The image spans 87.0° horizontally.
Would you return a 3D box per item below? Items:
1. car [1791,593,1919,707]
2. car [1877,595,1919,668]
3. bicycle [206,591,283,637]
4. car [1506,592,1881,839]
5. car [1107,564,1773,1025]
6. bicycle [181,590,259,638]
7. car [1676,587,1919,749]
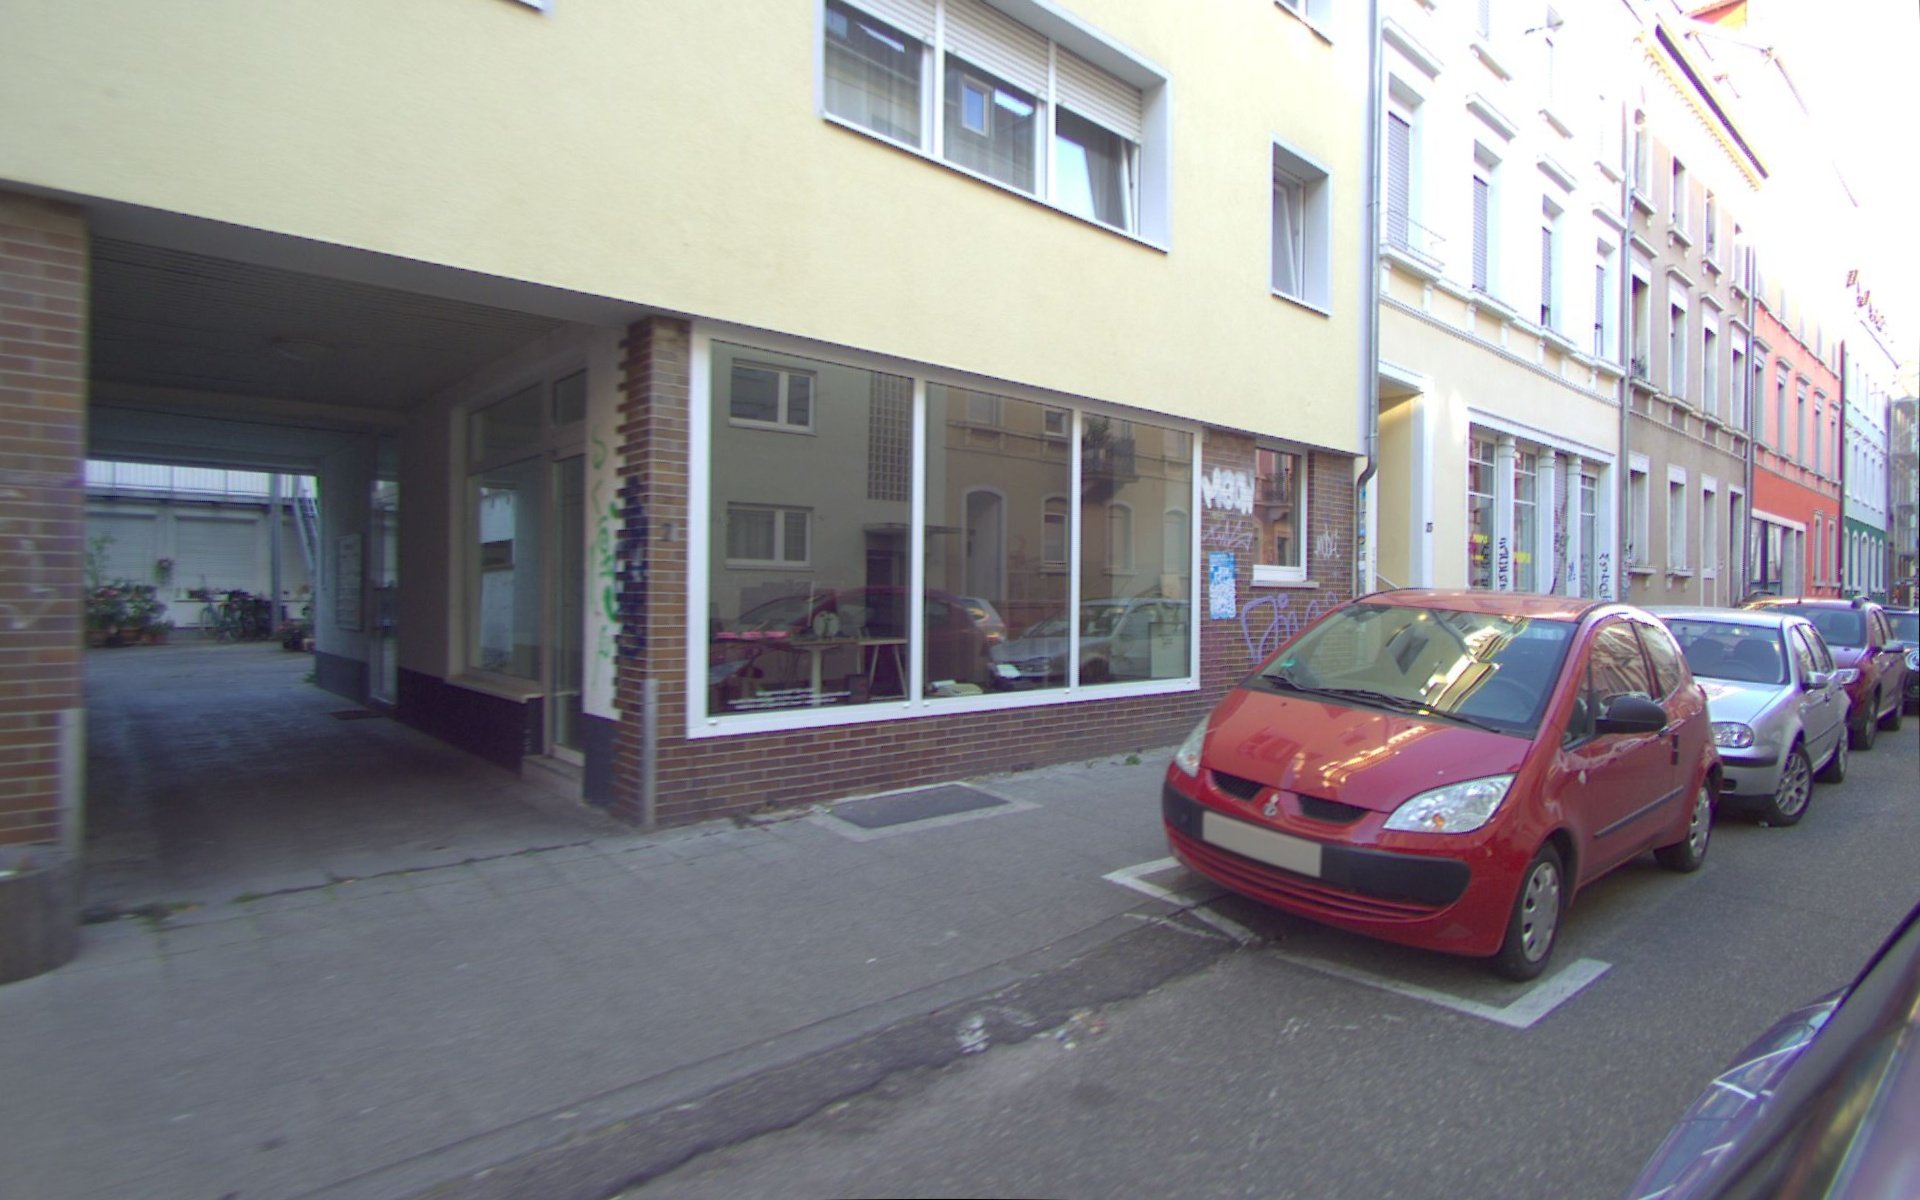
[{"bbox_3d":[14.257,0.671,15.482,4.305,1.541,1.764,0,0,-42],"label":"car"},{"bbox_3d":[21.699,0.666,22.252,4.387,1.501,1.830,0,1,-42],"label":"car"},{"bbox_3d":[-16.952,0.322,23.966,1.737,1.066,0.454,1,0,14],"label":"bicycle"},{"bbox_3d":[6.141,0.706,8.278,4.122,1.471,1.690,0,2,-43],"label":"car"},{"bbox_3d":[2.734,0.636,5.344,3.910,1.542,1.701,0,2,-41],"label":"car"},{"bbox_3d":[-17.148,0.323,23.448,1.737,1.066,0.454,1,0,14],"label":"bicycle"},{"bbox_3d":[10.045,0.656,11.901,3.931,1.570,1.792,0,1,-41],"label":"car"}]
